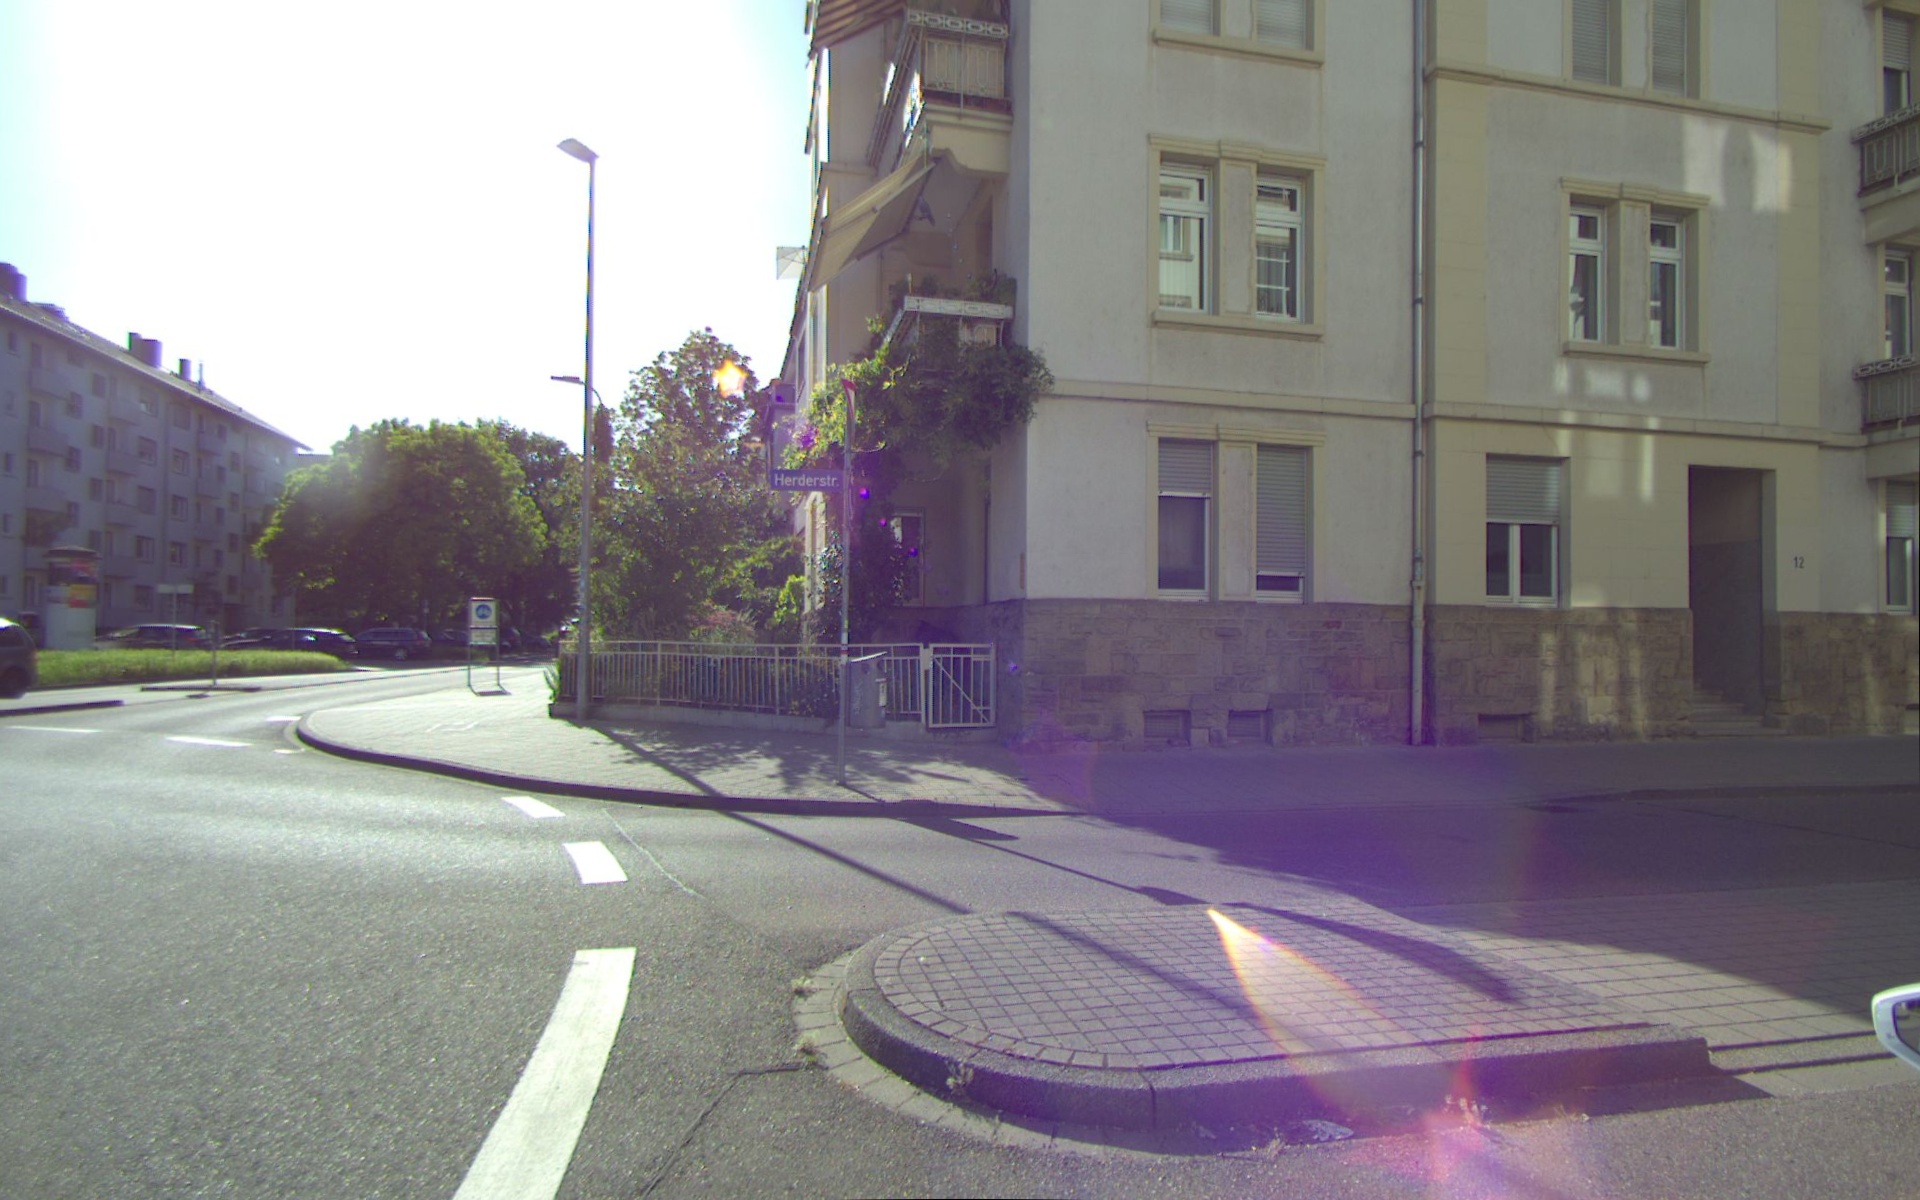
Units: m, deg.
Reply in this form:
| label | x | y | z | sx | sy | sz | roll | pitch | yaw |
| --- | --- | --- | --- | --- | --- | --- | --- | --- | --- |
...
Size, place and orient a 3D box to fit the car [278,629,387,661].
| label | x | y | z | sx | sy | sz | roll | pitch | yaw |
| --- | --- | --- | --- | --- | --- | --- | --- | --- | --- |
| car | -30.196 | 2.178 | 48.435 | 3.925 | 1.483 | 1.998 | 1 | -2 | -7 |

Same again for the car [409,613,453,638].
| label | x | y | z | sx | sy | sz | roll | pitch | yaw |
| --- | --- | --- | --- | --- | --- | --- | --- | --- | --- |
| car | -33.281 | 1.630 | 63.236 | 1.823 | 1.542 | 3.984 | 1 | -2 | -19 |

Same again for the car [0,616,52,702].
| label | x | y | z | sx | sy | sz | roll | pitch | yaw |
| --- | --- | --- | --- | --- | --- | --- | --- | --- | --- |
| car | -20.227 | 1.166 | 19.176 | 1.843 | 1.718 | 4.274 | 0 | -1 | 1 |

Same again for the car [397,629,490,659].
| label | x | y | z | sx | sy | sz | roll | pitch | yaw |
| --- | --- | --- | --- | --- | --- | --- | --- | --- | --- |
| car | -26.523 | 2.279 | 51.714 | 3.938 | 1.506 | 1.844 | 1 | -2 | -19 |

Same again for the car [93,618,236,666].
| label | x | y | z | sx | sy | sz | roll | pitch | yaw |
| --- | --- | --- | --- | --- | --- | --- | --- | --- | --- |
| car | -31.323 | 1.662 | 39.664 | 3.925 | 1.795 | 1.998 | 1 | -2 | -7 |

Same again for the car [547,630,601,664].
| label | x | y | z | sx | sy | sz | roll | pitch | yaw |
| --- | --- | --- | --- | --- | --- | --- | --- | --- | --- |
| car | -18.732 | 2.269 | 48.904 | 1.819 | 1.559 | 3.991 | 1 | -2 | -13 |
